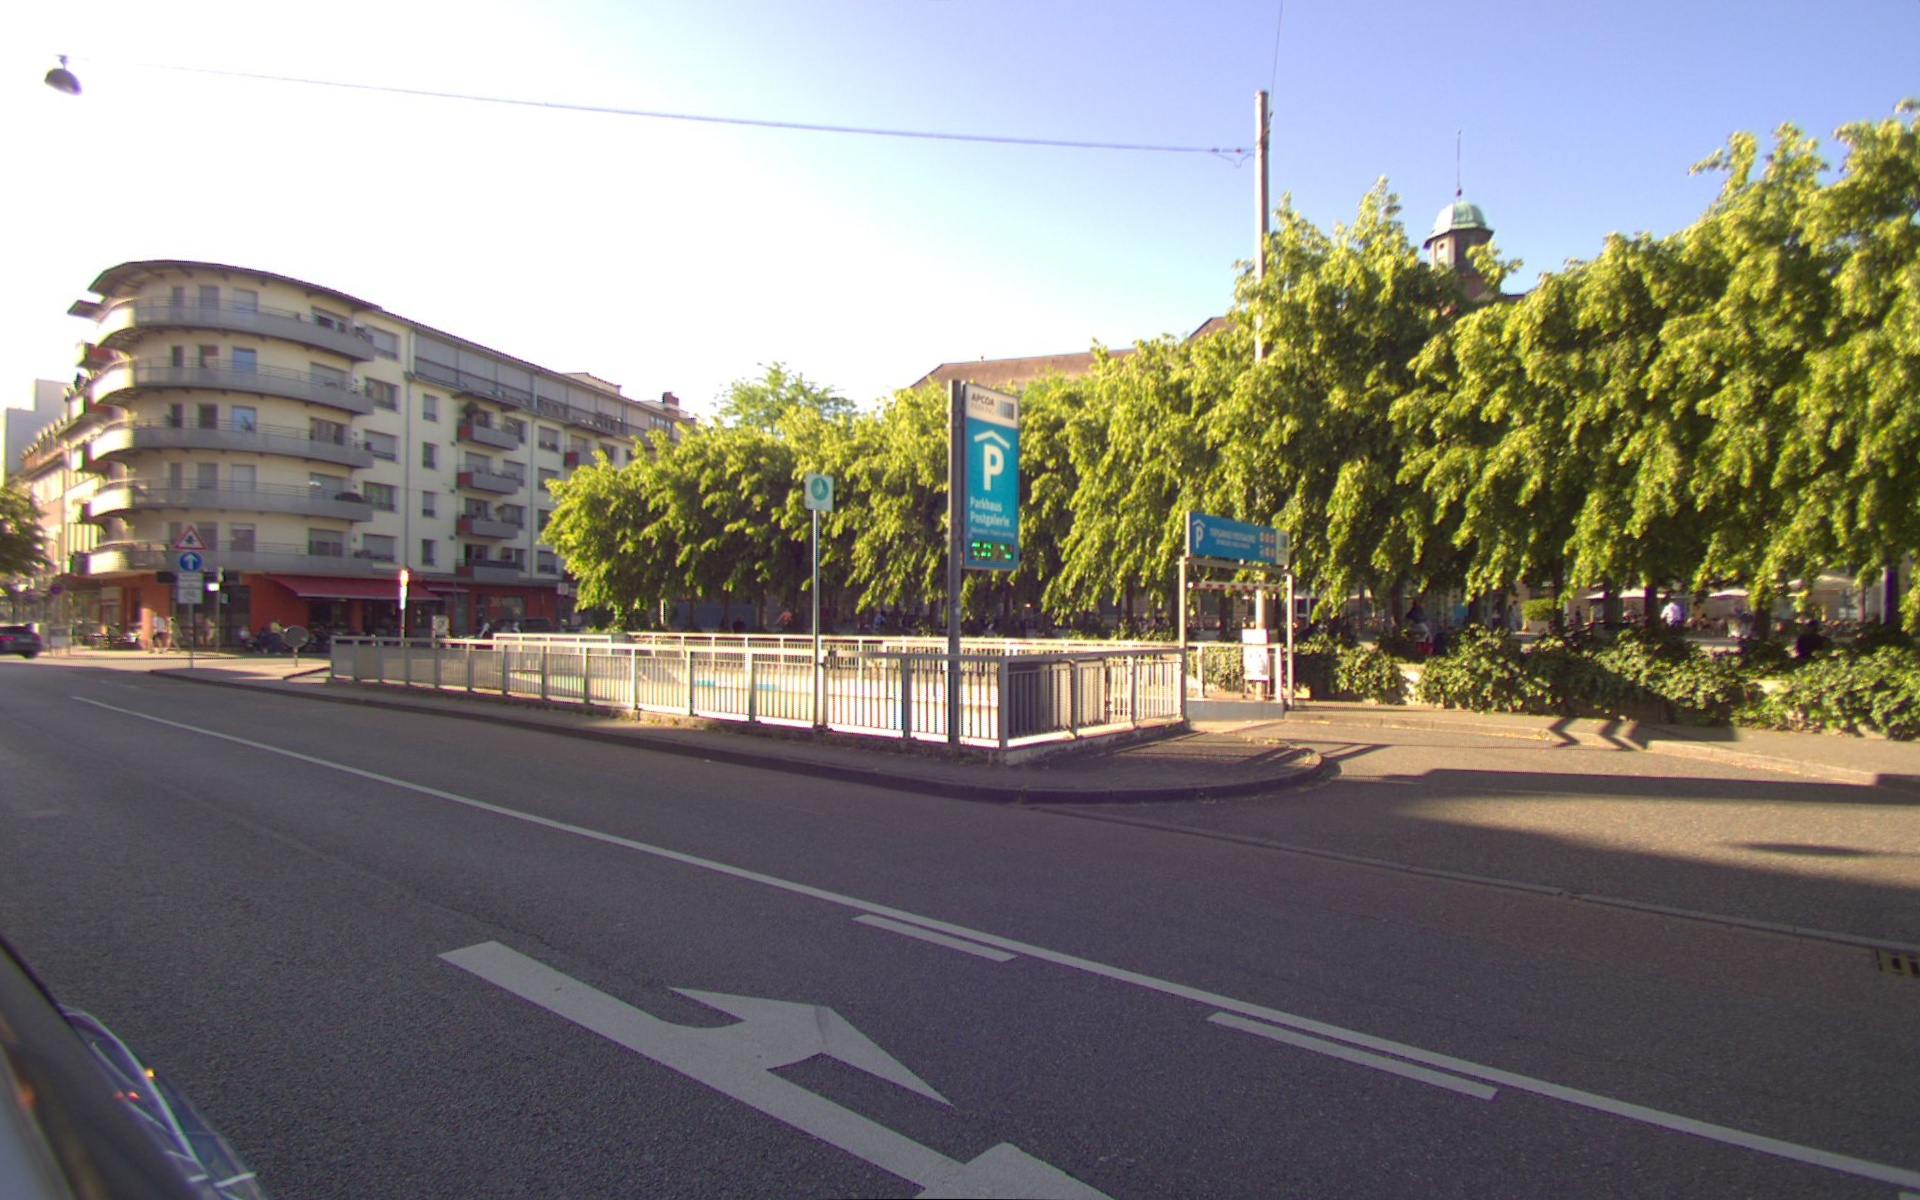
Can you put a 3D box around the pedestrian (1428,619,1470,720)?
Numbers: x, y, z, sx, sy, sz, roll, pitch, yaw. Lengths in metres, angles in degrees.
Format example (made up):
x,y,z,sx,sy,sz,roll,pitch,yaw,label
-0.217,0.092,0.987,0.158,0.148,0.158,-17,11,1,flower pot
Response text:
x,y,z,sx,sy,sz,roll,pitch,yaw,label
9.306,1.304,19.260,0.600,1.870,0.575,-1,-1,38,pedestrian

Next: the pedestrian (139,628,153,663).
x,y,z,sx,sy,sz,roll,pitch,yaw,label
-36.582,2.031,45.462,0.515,1.541,0.371,-1,-1,38,pedestrian

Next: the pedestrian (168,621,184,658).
x,y,z,sx,sy,sz,roll,pitch,yaw,label
-35.960,1.817,46.418,0.515,1.685,0.437,-1,-1,34,pedestrian

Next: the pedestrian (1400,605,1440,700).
x,y,z,sx,sy,sz,roll,pitch,yaw,label
9.317,1.046,20.500,0.674,1.870,0.577,-1,-1,30,pedestrian

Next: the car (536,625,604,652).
x,y,z,sx,sy,sz,roll,pitch,yaw,label
-25.191,2.461,65.482,1.938,1.633,4.272,-1,-1,17,car

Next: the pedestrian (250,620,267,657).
x,y,z,sx,sy,sz,roll,pitch,yaw,label
-32.921,1.791,47.497,0.642,1.721,0.568,-2,-2,43,pedestrian

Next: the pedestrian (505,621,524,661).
x,y,z,sx,sy,sz,roll,pitch,yaw,label
-20.286,1.854,46.109,0.574,1.806,0.601,-1,0,0,pedestrian

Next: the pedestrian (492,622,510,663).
x,y,z,sx,sy,sz,roll,pitch,yaw,label
-20.569,1.880,45.329,0.574,1.806,0.602,-1,0,-5,pedestrian

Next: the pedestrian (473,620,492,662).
x,y,z,sx,sy,sz,roll,pitch,yaw,label
-20.939,1.794,44.400,0.574,1.806,0.602,-1,0,-5,pedestrian

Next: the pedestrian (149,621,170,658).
x,y,z,sx,sy,sz,roll,pitch,yaw,label
-36.325,1.793,45.908,0.791,1.634,0.564,-1,-1,35,pedestrian

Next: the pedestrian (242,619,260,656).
x,y,z,sx,sy,sz,roll,pitch,yaw,label
-33.583,1.782,47.951,0.642,1.721,0.568,-2,-2,43,pedestrian

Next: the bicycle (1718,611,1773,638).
x,y,z,sx,sy,sz,roll,pitch,yaw,label
31.463,0.981,40.552,0.496,1.024,2.061,-1,0,-3,bicycle

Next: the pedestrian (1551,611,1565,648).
x,y,z,sx,sy,sz,roll,pitch,yaw,label
29.730,1.449,50.304,0.599,1.806,0.576,-1,-1,31,pedestrian

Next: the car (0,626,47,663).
x,y,z,sx,sy,sz,roll,pitch,yaw,label
-39.007,1.756,40.364,3.881,1.407,1.803,-1,-1,8,car

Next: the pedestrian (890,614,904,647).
x,y,z,sx,sy,sz,roll,pitch,yaw,label
-3.521,1.708,56.231,0.578,1.806,0.597,-1,0,21,pedestrian

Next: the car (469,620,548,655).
x,y,z,sx,sy,sz,roll,pitch,yaw,label
-26.694,2.181,60.002,1.938,1.927,4.403,-1,-1,17,car

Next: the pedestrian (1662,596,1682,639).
x,y,z,sx,sy,sz,roll,pitch,yaw,label
30.342,0.749,43.147,0.598,1.806,0.577,-1,-1,27,pedestrian
